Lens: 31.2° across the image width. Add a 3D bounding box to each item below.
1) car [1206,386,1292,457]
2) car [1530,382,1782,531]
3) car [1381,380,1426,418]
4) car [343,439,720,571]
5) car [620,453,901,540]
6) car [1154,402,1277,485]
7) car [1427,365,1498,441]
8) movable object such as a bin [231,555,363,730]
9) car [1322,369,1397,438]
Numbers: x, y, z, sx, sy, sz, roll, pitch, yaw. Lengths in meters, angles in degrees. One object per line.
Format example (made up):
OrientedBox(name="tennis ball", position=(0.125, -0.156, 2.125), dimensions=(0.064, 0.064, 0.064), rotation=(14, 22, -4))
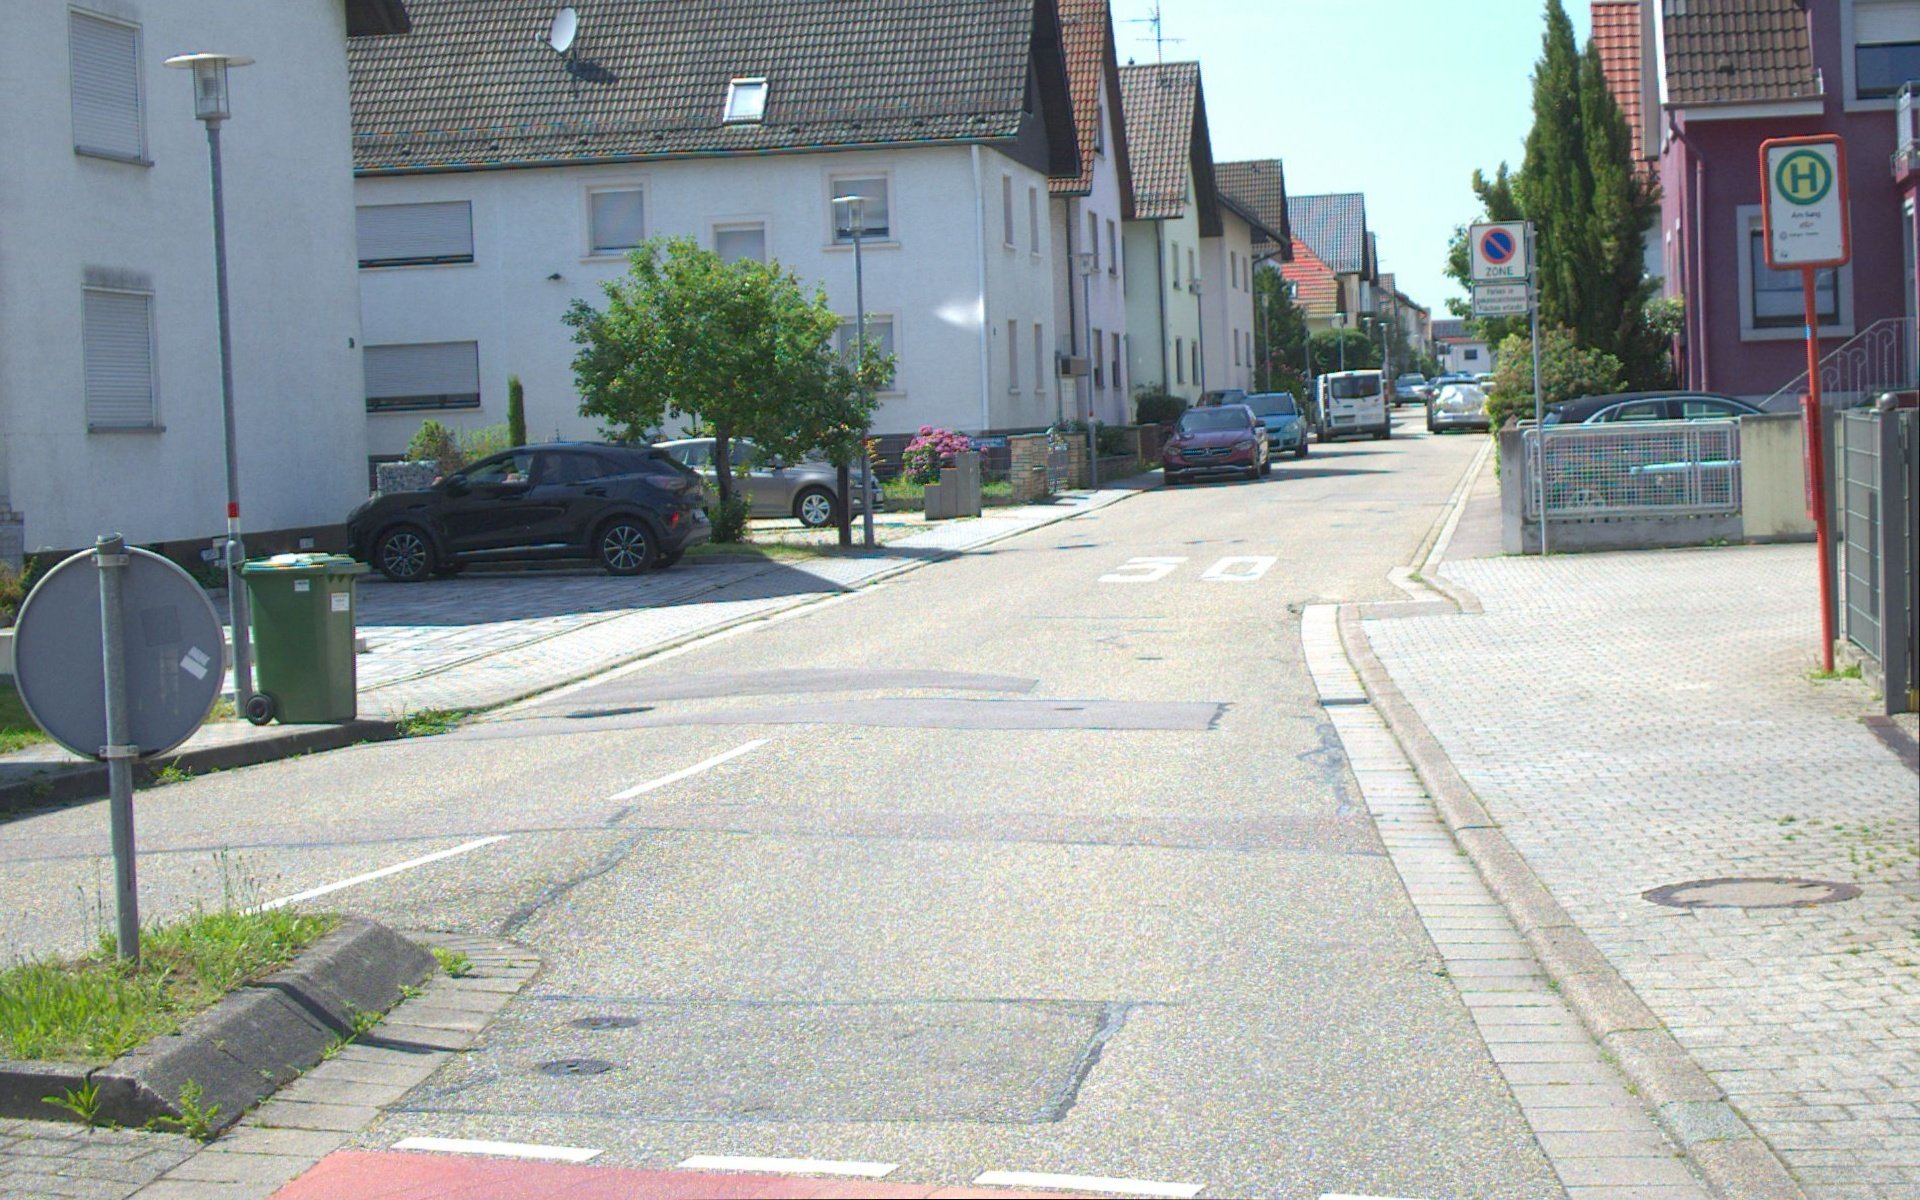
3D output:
OrientedBox(name="car", position=(6.911, -4.264, 82.446), dimensions=(1.924, 1.598, 4.000), rotation=(-2, 2, 4))
OrientedBox(name="car", position=(7.996, -1.638, 39.635), dimensions=(2.745, 1.592, 1.171), rotation=(-2, 1, 9))
OrientedBox(name="car", position=(22.826, -10.339, 176.897), dimensions=(1.955, 1.807, 3.998), rotation=(0, 2, 12))
OrientedBox(name="car", position=(-4.900, -1.105, 39.593), dimensions=(3.988, 1.378, 1.660), rotation=(-1, 2, 7))
OrientedBox(name="car", position=(-3.010, -1.583, 52.405), dimensions=(3.988, 1.186, 1.840), rotation=(-1, 3, 7))
OrientedBox(name="car", position=(5.089, -3.113, 67.996), dimensions=(1.994, 1.548, 3.999), rotation=(-1, 3, 10))
OrientedBox(name="car", position=(14.822, -5.788, 101.328), dimensions=(1.952, 2.065, 3.999), rotation=(-2, 1, 9))
OrientedBox(name="movable object such as a bin", position=(-4.208, 0.268, 21.841), dimensions=(0.645, 1.080, 0.458), rotation=(-1, 3, 17))
OrientedBox(name="car", position=(11.263, -5.511, 96.801), dimensions=(1.852, 1.780, 3.999), rotation=(-2, 1, 9))
